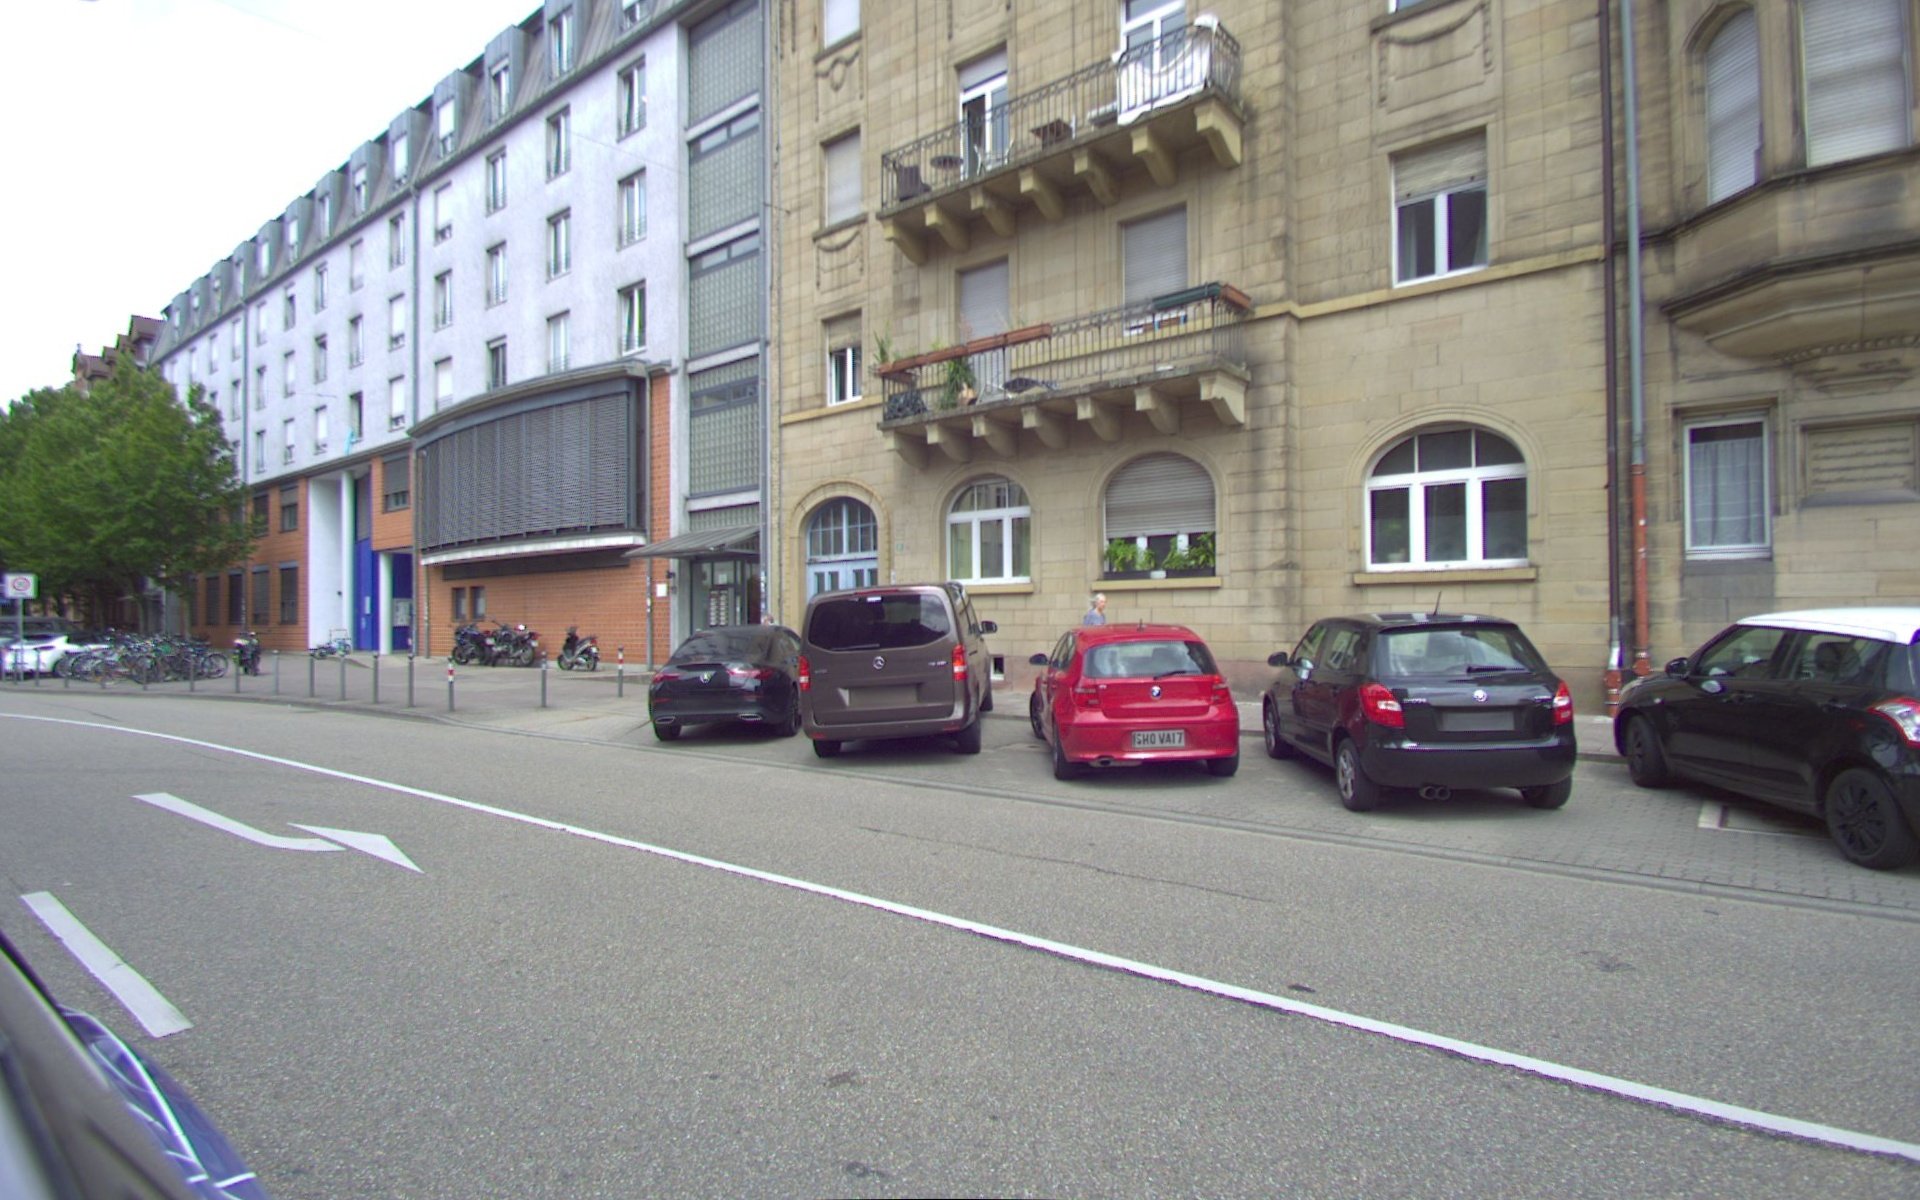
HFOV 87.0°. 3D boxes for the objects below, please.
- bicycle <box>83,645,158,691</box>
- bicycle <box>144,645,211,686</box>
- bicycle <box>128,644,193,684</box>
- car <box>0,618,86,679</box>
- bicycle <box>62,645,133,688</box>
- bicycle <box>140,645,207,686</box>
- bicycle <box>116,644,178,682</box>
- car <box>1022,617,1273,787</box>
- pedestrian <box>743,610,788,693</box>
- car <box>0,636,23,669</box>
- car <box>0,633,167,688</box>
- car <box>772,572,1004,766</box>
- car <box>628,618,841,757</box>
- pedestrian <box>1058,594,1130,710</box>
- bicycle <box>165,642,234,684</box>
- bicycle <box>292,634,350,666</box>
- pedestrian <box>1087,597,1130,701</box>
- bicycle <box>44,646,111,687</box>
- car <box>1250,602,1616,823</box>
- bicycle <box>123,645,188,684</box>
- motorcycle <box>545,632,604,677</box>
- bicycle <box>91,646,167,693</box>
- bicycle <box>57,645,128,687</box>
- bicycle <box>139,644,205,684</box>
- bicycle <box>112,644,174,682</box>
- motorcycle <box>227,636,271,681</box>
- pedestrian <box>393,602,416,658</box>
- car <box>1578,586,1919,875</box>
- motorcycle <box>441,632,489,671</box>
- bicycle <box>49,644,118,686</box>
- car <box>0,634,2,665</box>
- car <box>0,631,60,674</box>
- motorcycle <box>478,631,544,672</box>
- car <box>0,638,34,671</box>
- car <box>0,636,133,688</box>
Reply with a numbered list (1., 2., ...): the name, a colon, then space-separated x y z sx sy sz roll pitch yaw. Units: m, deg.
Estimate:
1. bicycle: -21.450 1.729 25.872 0.401 1.046 1.391 -2 0 42
2. bicycle: -21.090 1.750 27.293 0.401 1.034 1.391 -2 -1 42
3. bicycle: -22.495 1.783 28.477 0.401 1.034 1.391 -2 -1 42
4. car: -33.796 1.712 35.923 1.840 2.013 3.995 -1 0 9
5. bicycle: -23.054 1.762 27.069 0.401 1.046 1.391 -2 0 42
6. bicycle: -21.485 1.774 27.655 0.401 1.034 1.391 -2 -1 42
7. bicycle: -23.814 1.834 29.656 0.401 1.034 1.391 -2 -1 42
8. car: 1.716 0.912 10.608 1.771 1.420 4.013 -1 -1 -1
9. pedestrian: -3.556 0.930 18.512 0.506 1.497 0.656 -1 -2 26
10. car: -44.029 2.364 44.551 1.671 1.465 3.998 -2 -1 6
11. car: -27.020 1.821 31.250 1.584 1.557 3.994 -1 -1 9
12. car: -0.621 0.756 12.780 2.095 1.924 5.262 -1 -1 5
13. car: -2.964 1.089 14.374 1.874 1.420 4.670 -2 1 1
14. pedestrian: 1.952 0.735 14.713 0.678 1.607 0.783 -2 1 39
15. bicycle: -20.011 1.646 26.653 0.401 1.034 1.391 -2 -1 42
16. bicycle: -22.820 1.766 36.136 1.591 0.933 0.933 -7 3 -38
17. pedestrian: 2.281 0.745 15.501 0.505 1.557 0.647 -1 -2 21
18. bicycle: -25.126 1.881 28.830 0.401 1.034 1.391 -2 0 42
19. car: 3.832 0.830 9.009 1.611 1.514 3.991 -1 -1 5
20. bicycle: -22.866 1.809 28.788 0.401 1.034 1.391 -2 -1 42
21. motorcycle: -9.608 1.350 25.223 1.792 1.057 0.577 -2 -1 41
22. bicycle: -20.763 1.721 25.305 0.401 1.046 1.391 -2 0 42
23. bicycle: -23.548 1.777 27.479 0.401 1.034 1.391 -2 0 42
24. bicycle: -21.815 1.761 28.018 0.401 1.034 1.391 -2 -1 42
25. bicycle: -24.178 1.848 29.961 0.401 1.034 1.391 -2 -1 42
26. motorcycle: -19.535 1.585 27.804 1.779 1.181 0.577 -2 -1 42
27. pedestrian: -20.182 1.084 36.758 0.718 2.029 0.784 1 -2 -31
28. car: 6.348 0.740 7.231 1.775 1.576 4.002 -1 -1 8
29. motorcycle: -14.283 1.473 29.164 1.655 1.057 0.578 -2 -1 39
30. bicycle: -24.513 1.803 28.307 0.401 1.034 1.391 -2 0 42
31. car: -50.165 2.515 50.024 1.671 1.580 3.998 -2 -1 6
32. car: -38.005 2.071 39.647 1.692 1.627 3.998 -2 -1 6
33. motorcycle: -12.319 1.412 27.751 1.958 1.057 0.580 -2 -1 29
34. car: -42.266 2.380 43.212 1.577 1.400 3.998 -2 -1 6
35. car: -29.175 1.923 32.344 1.696 1.480 4.308 -1 -1 6
